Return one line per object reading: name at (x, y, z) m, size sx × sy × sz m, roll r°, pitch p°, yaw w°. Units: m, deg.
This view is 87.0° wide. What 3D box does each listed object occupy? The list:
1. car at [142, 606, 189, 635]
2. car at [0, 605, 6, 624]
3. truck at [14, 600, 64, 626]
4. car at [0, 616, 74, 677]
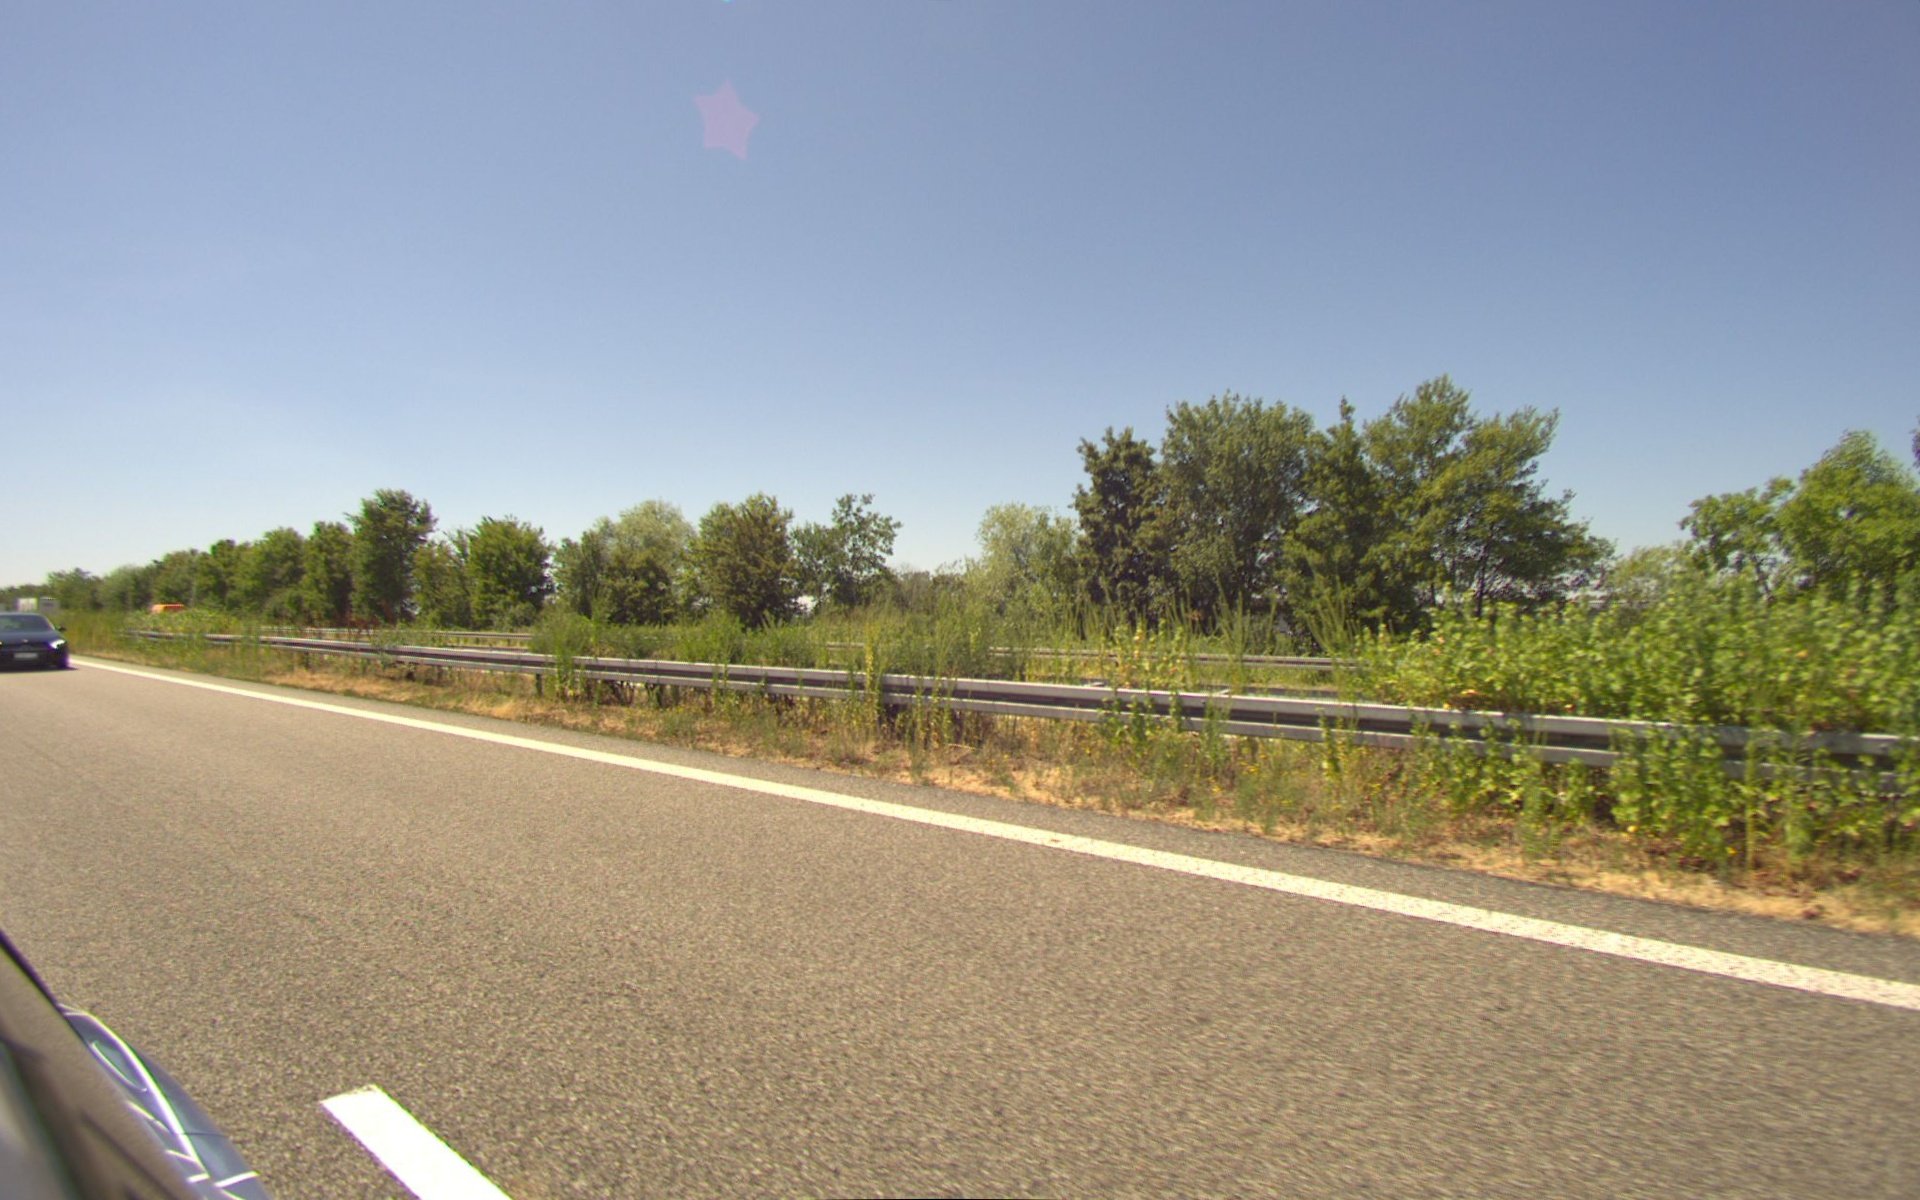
car at (-69.358, 1.795, 88.305) m, size 4.952 × 2.455 × 2.159 m, roll -1°, pitch -3°, yaw 40°
car at (-170.275, 2.627, 177.354) m, size 8.508 × 3.318 × 3.471 m, roll -1°, pitch 0°, yaw 40°
truck at (-127.756, 1.839, 140.315) m, size 10.684 × 3.464 × 4.068 m, roll -1°, pitch 0°, yaw 41°
car at (-23.879, 1.139, 25.548) m, size 4.051 × 1.422 × 1.773 m, roll -1°, pitch -1°, yaw 41°
